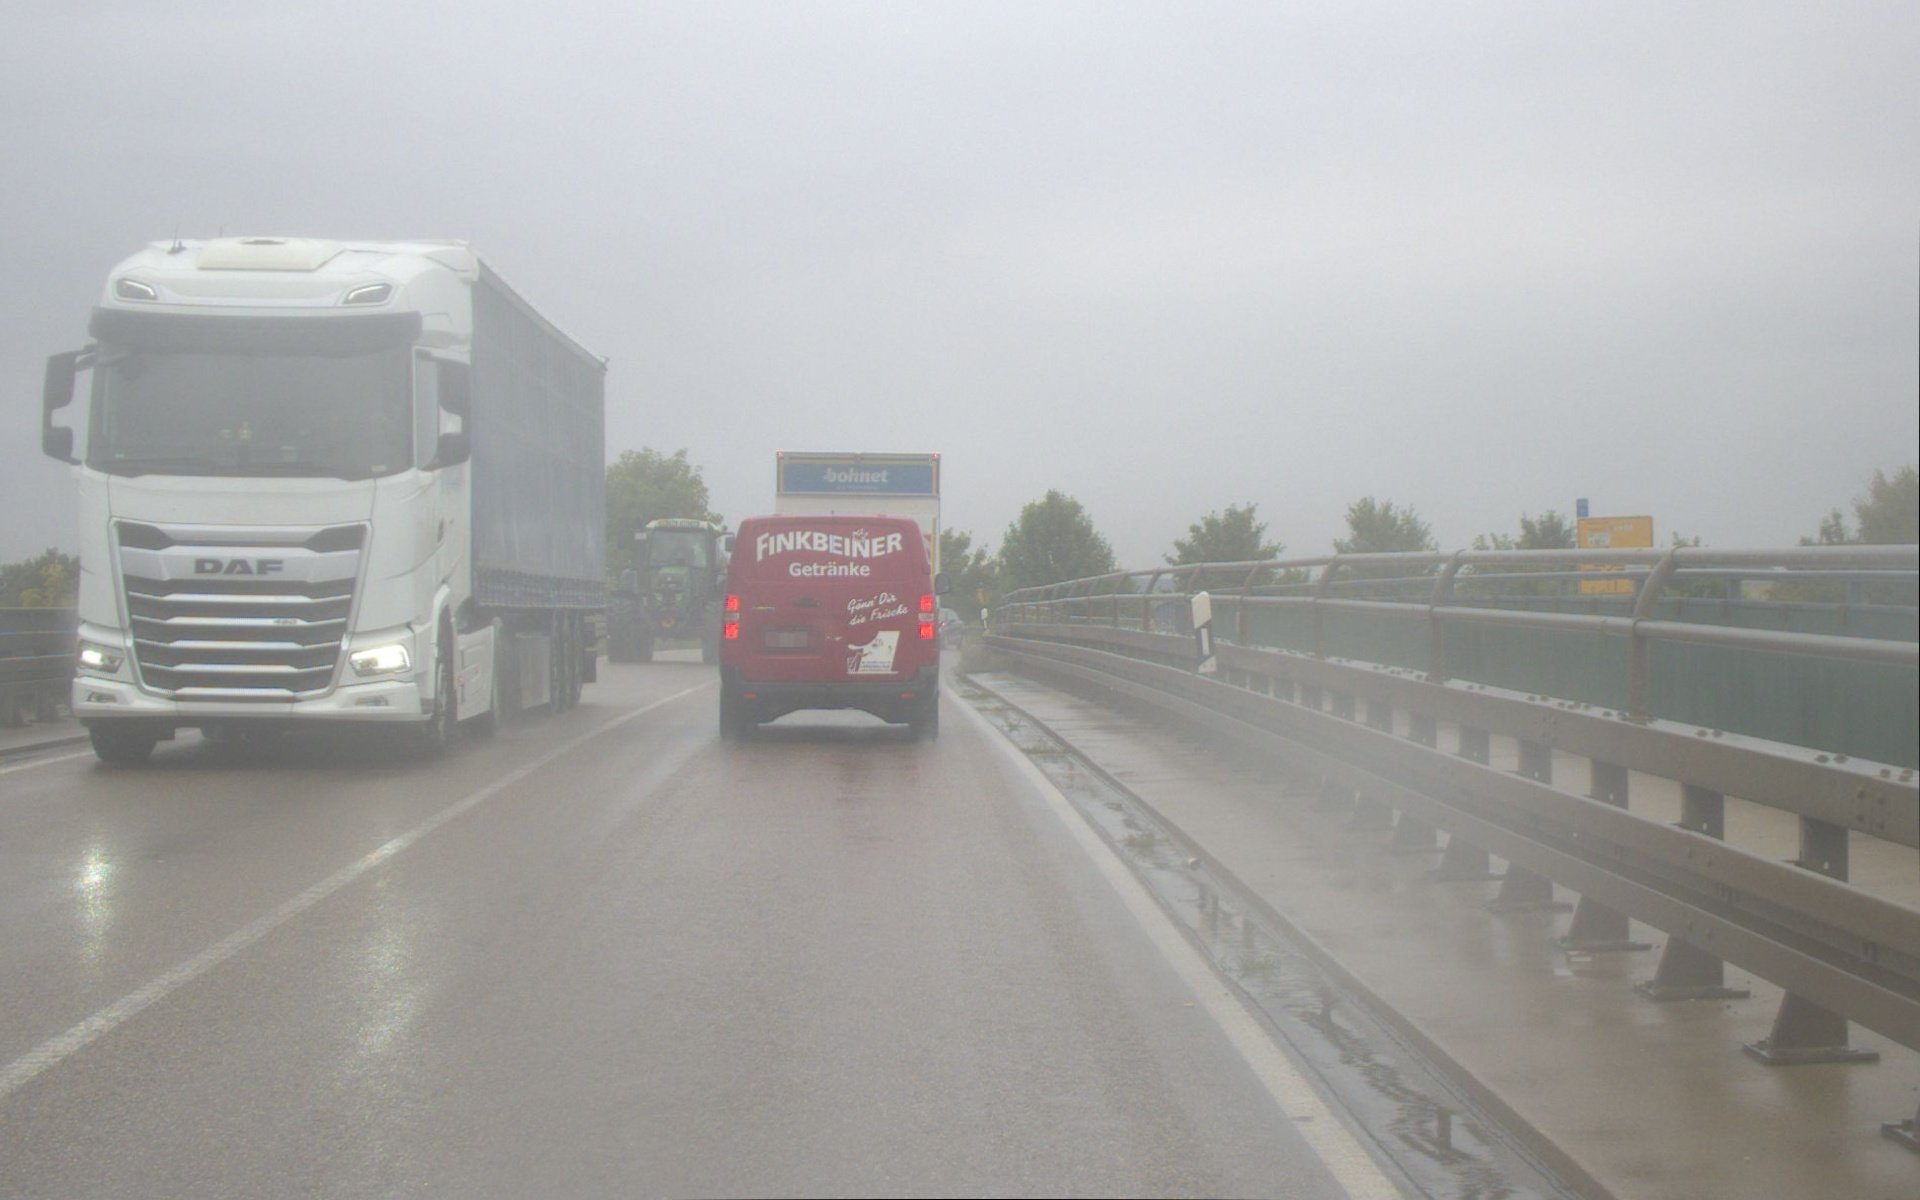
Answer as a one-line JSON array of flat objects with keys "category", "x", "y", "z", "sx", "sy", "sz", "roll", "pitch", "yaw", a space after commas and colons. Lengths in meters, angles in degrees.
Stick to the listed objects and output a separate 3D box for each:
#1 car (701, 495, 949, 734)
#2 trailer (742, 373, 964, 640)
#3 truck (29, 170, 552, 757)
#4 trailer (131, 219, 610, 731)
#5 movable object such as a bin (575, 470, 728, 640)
[{"category": "car", "x": -1.187, "y": 0.066, "z": 30.179, "sx": 1.993, "sy": 1.919, "sz": 4.144, "roll": 1, "pitch": 1, "yaw": -2}, {"category": "trailer", "x": -1.862, "y": -1.452, "z": 56.826, "sx": 3.201, "sy": 3.908, "sz": 8.740, "roll": 3, "pitch": 0, "yaw": -3}, {"category": "truck", "x": -5.046, "y": -0.977, "z": 27.637, "sx": 2.817, "sy": 3.956, "sz": 8.765, "roll": 0, "pitch": 1, "yaw": -2}, {"category": "trailer", "x": -5.272, "y": -1.058, "z": 33.534, "sx": 2.817, "sy": 3.956, "sz": 13.737, "roll": 0, "pitch": 1, "yaw": -2}, {"category": "movable object such as a bin", "x": -6.435, "y": -0.937, "z": 72.322, "sx": 2.748, "sy": 3.433, "sz": 4.643, "roll": 0, "pitch": 0, "yaw": 0}]
